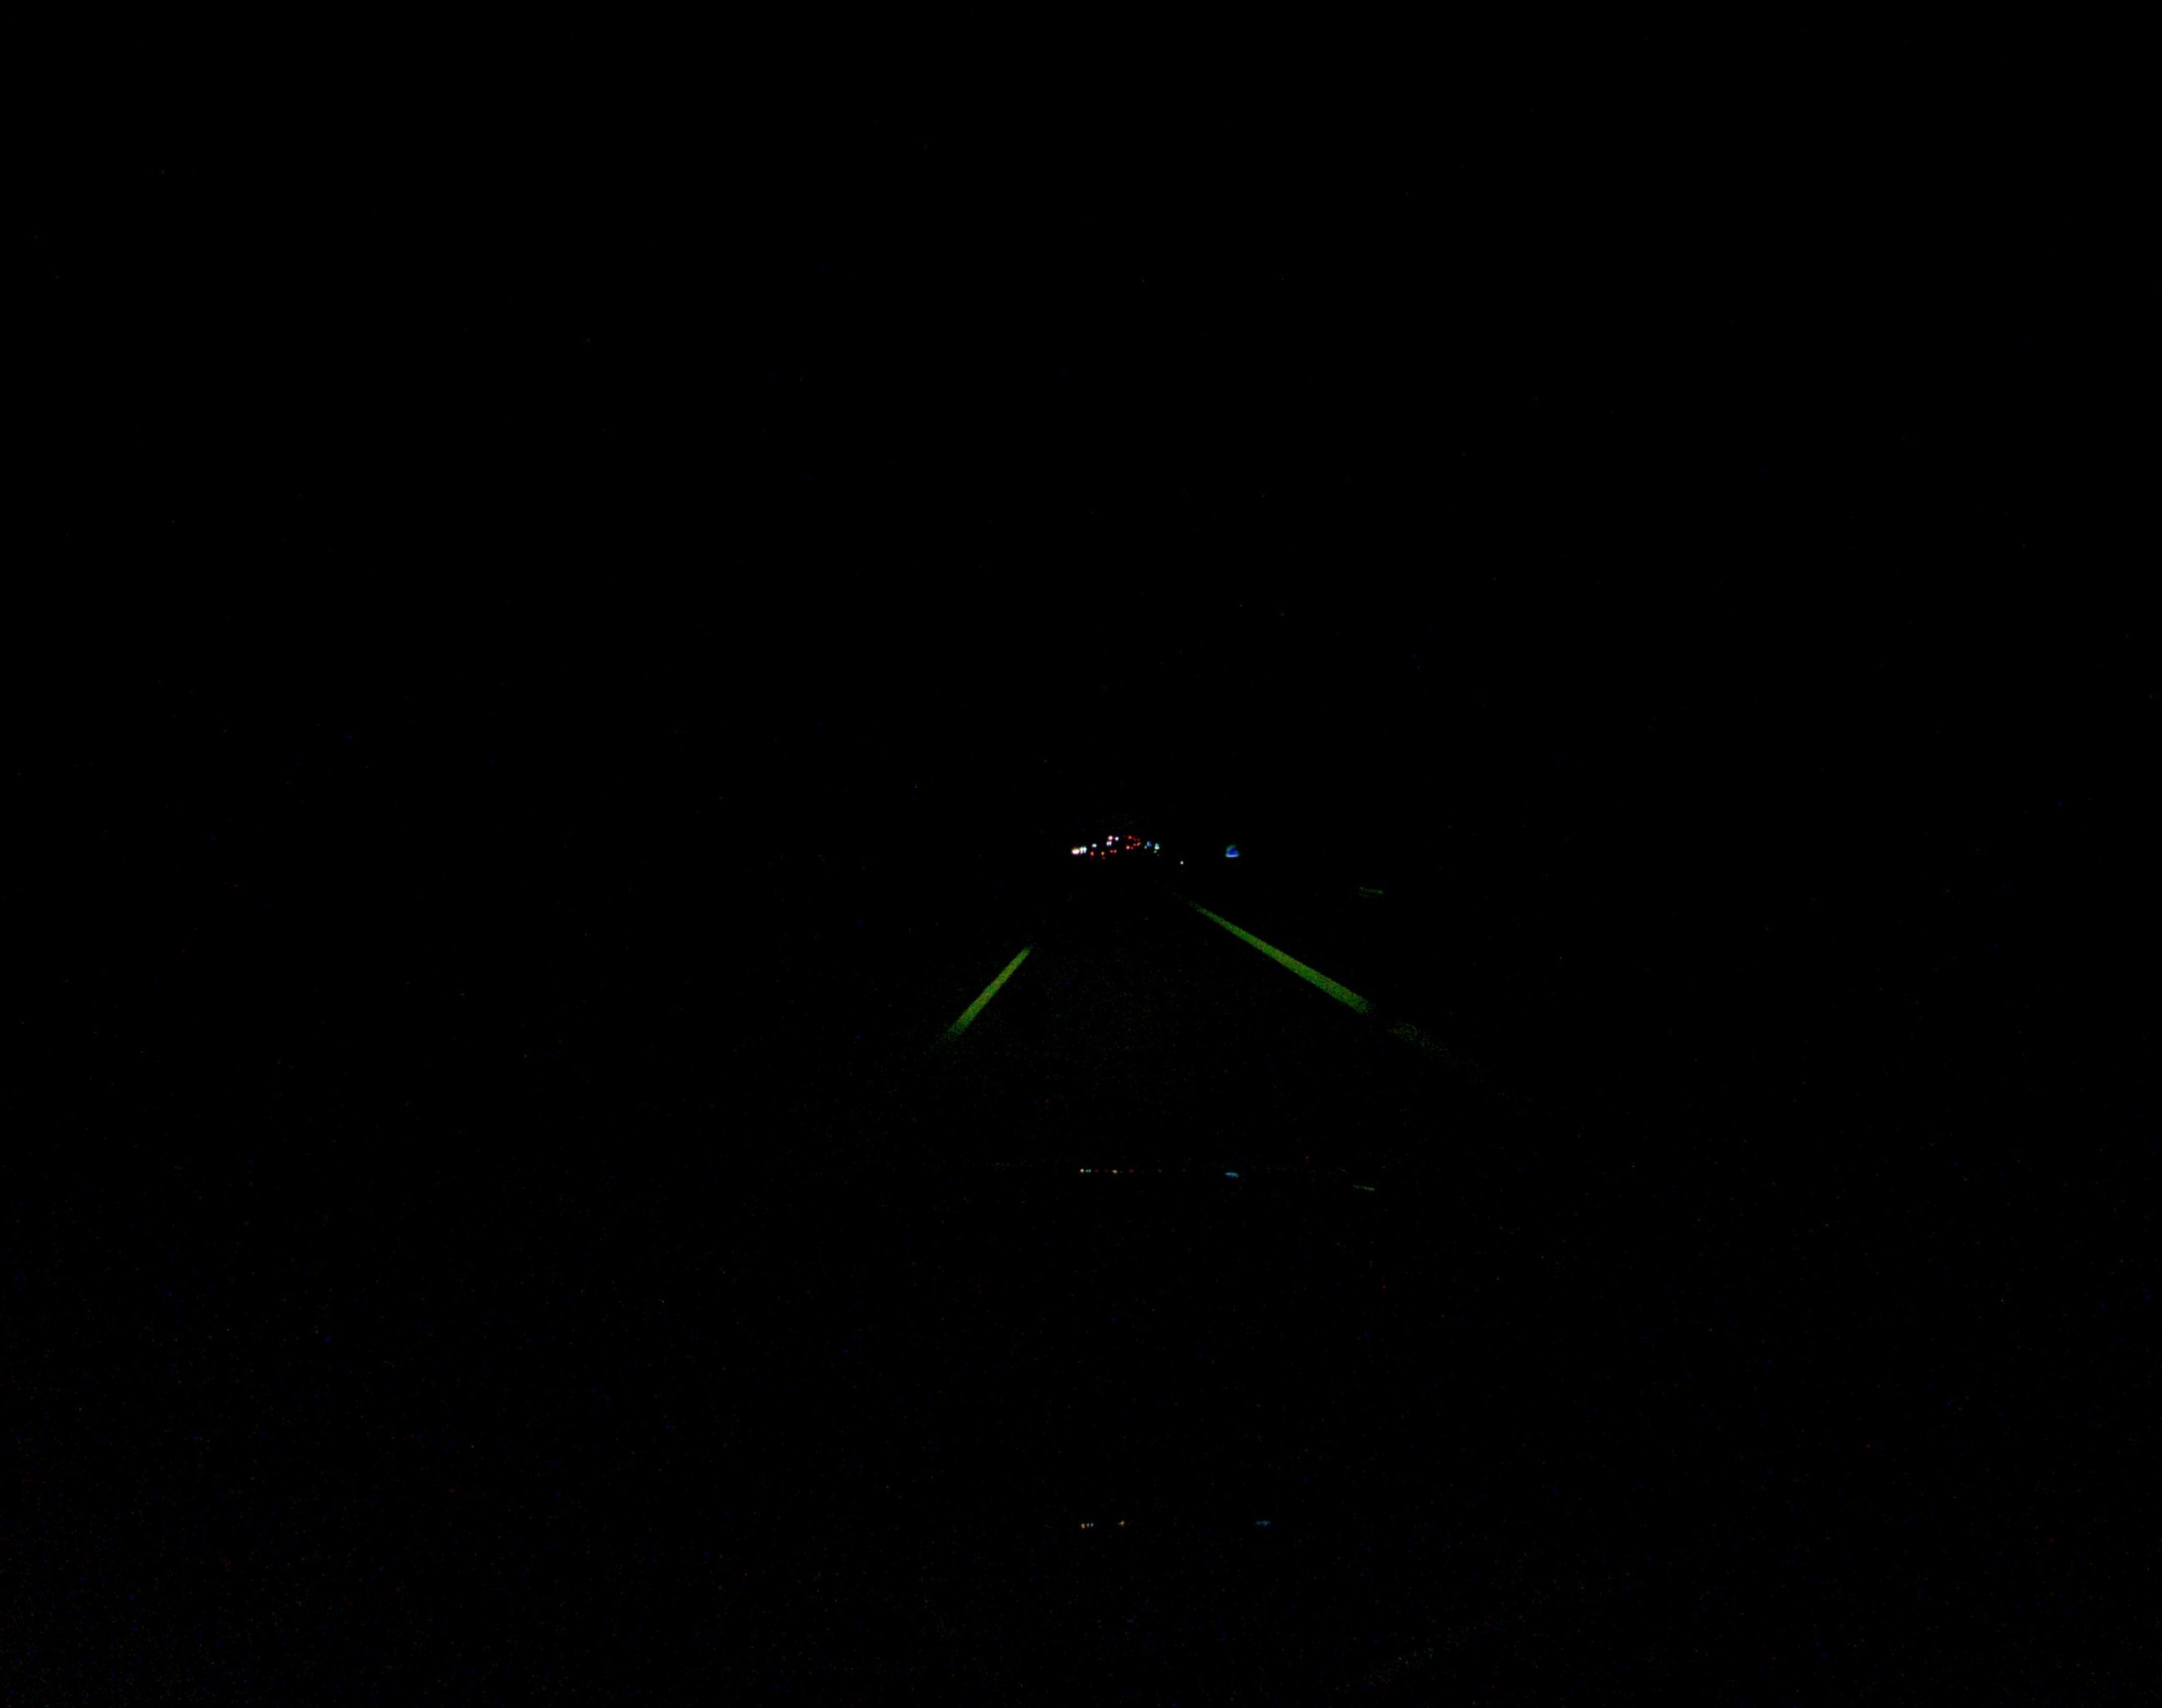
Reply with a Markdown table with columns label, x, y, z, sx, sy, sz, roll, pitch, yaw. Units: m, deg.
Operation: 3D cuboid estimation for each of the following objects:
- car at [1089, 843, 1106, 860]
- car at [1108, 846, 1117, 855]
| label | x | y | z | sx | sy | sz | roll | pitch | yaw |
| --- | --- | --- | --- | --- | --- | --- | --- | --- | --- |
| car | 2.836 | -0.374 | 139.680 | 2.776 | 2.733 | 6.300 | -1 | 0 | 1 |
| car | 10.110 | -1.239 | 260.857 | 2.777 | 2.733 | 6.300 | -1 | 0 | 1 |
